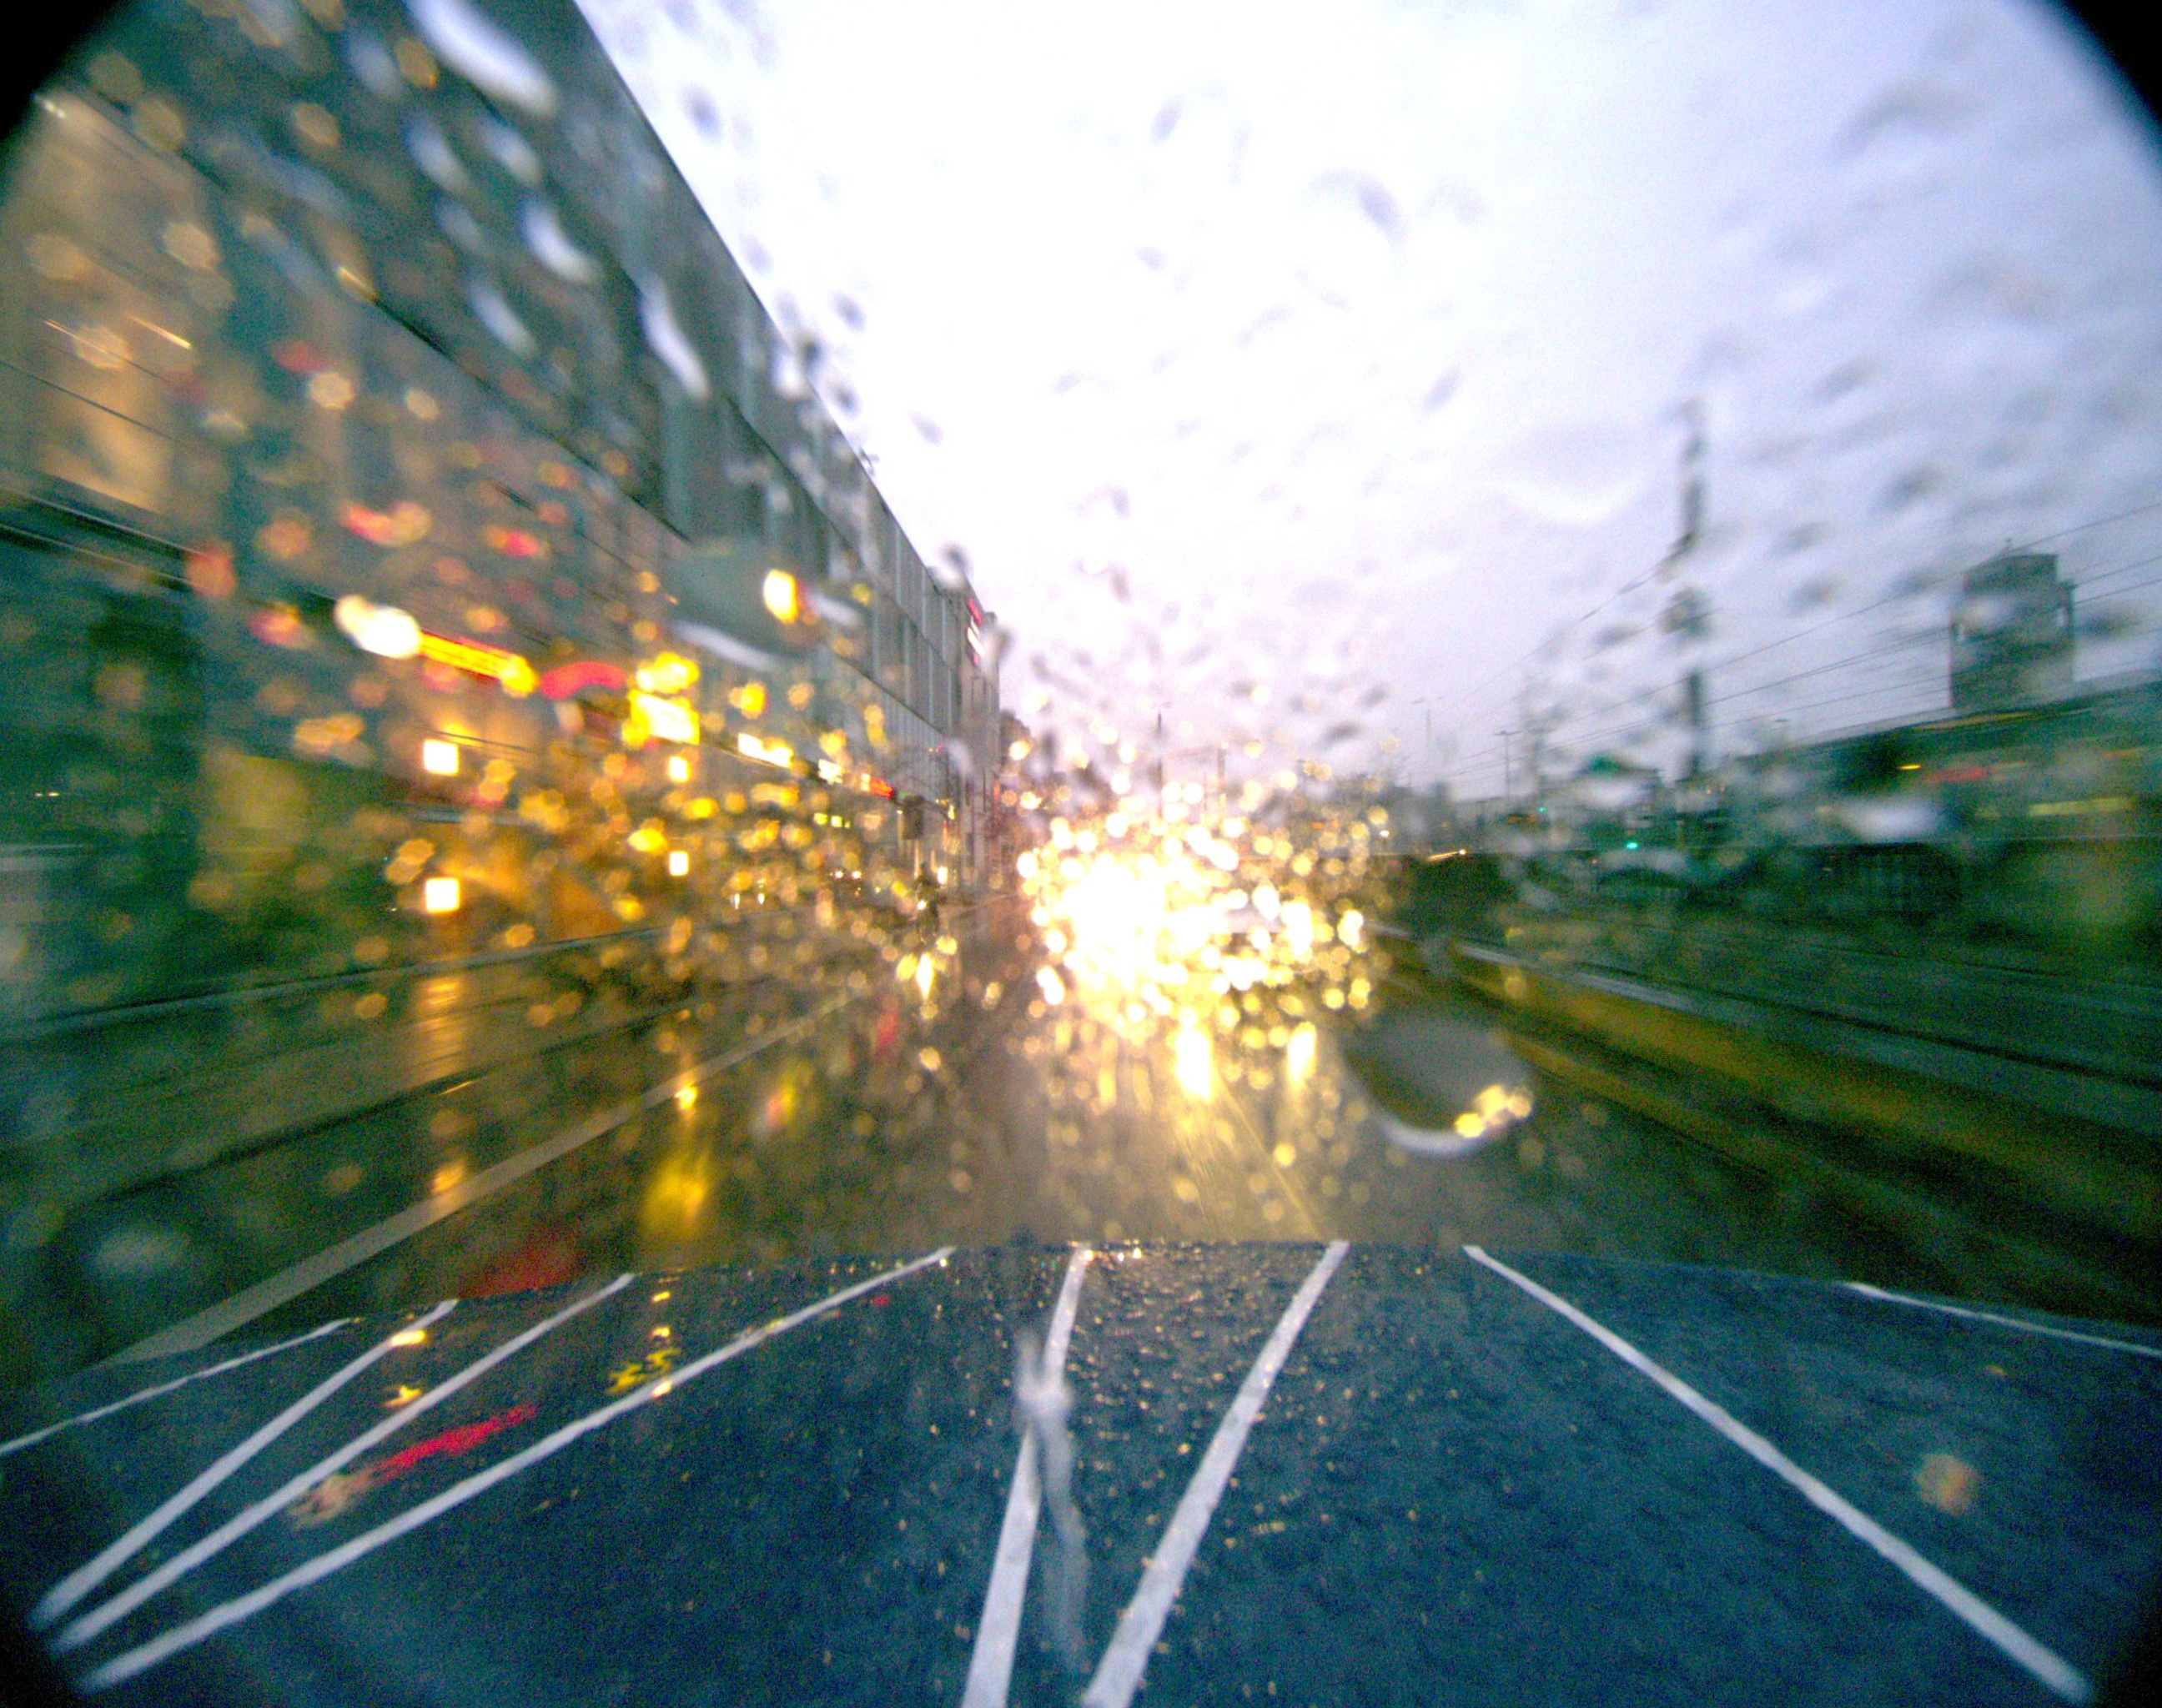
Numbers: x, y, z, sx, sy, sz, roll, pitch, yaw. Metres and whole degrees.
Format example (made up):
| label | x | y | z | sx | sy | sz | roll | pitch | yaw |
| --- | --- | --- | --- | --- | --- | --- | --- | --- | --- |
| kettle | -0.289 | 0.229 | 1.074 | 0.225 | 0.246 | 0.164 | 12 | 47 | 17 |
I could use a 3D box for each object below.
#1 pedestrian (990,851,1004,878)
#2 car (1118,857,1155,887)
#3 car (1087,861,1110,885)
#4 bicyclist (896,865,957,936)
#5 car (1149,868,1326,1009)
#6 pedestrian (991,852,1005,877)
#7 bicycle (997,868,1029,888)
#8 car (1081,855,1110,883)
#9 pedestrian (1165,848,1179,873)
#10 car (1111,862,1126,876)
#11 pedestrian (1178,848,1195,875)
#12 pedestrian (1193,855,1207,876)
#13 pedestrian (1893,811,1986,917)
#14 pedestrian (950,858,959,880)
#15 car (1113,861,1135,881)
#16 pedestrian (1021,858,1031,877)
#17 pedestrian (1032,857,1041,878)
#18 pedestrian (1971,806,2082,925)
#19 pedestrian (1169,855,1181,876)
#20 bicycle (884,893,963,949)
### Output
| label | x | y | z | sx | sy | sz | roll | pitch | yaw |
| --- | --- | --- | --- | --- | --- | --- | --- | --- | --- |
| pedestrian | -7.109 | 0.889 | 64.365 | 0.960 | 2.179 | 0.712 | -1 | 0 | 14 |
| car | 3.278 | 1.032 | 45.041 | 1.998 | 1.673 | 4.001 | -2 | 0 | 4 |
| car | 1.610 | 1.675 | 68.624 | 1.998 | 2.002 | 4.001 | -1 | 0 | 2 |
| bicyclist | -3.320 | 0.987 | 16.430 | 0.945 | 1.454 | 1.067 | -2 | 0 | 7 |
| car | 1.923 | 0.985 | 10.520 | 1.813 | 1.464 | 4.140 | -2 | 0 | 4 |
| pedestrian | -7.083 | 0.916 | 64.959 | 0.965 | 2.149 | 0.581 | -1 | 0 | 14 |
| bicycle | -4.257 | 1.498 | 47.451 | 1.908 | 1.168 | 0.667 | 0 | 0 | 2 |
| car | 1.038 | 1.047 | 54.174 | 1.864 | 1.866 | 4.001 | -2 | 0 | 3 |
| pedestrian | 7.987 | 0.541 | 66.385 | 0.906 | 2.133 | 1.017 | -2 | 0 | -9 |
| car | 4.686 | 1.839 | 95.777 | 1.867 | 1.652 | 3.987 | -1 | 0 | 2 |
| pedestrian | 8.877 | 0.623 | 63.984 | 1.054 | 2.195 | 0.956 | -2 | 0 | -25 |
| pedestrian | 9.925 | 0.922 | 63.304 | 0.862 | 1.704 | 0.763 | -2 | 0 | -25 |
| pedestrian | 13.022 | 0.156 | 11.547 | 0.585 | 1.541 | 0.741 | -2 | 0 | 13 |
| pedestrian | -10.520 | 1.241 | 63.202 | 0.616 | 1.794 | 0.624 | -2 | 0 | 3 |
| car | 3.862 | 1.500 | 68.872 | 1.867 | 1.652 | 3.987 | -1 | 0 | 2 |
| pedestrian | -4.768 | 1.150 | 65.930 | 0.779 | 1.598 | 0.501 | -2 | 0 | 3 |
| pedestrian | -3.675 | 1.117 | 62.836 | 0.707 | 1.684 | 0.723 | 0 | 0 | -9 |
| pedestrian | 12.779 | 0.157 | 10.288 | 0.585 | 1.541 | 0.741 | -2 | 0 | 13 |
| pedestrian | 7.753 | 0.981 | 62.742 | 0.654 | 1.708 | 0.749 | -2 | 0 | -25 |
| bicycle | -3.315 | 1.396 | 16.283 | 0.945 | 0.993 | 2.241 | -2 | 0 | 7 |
